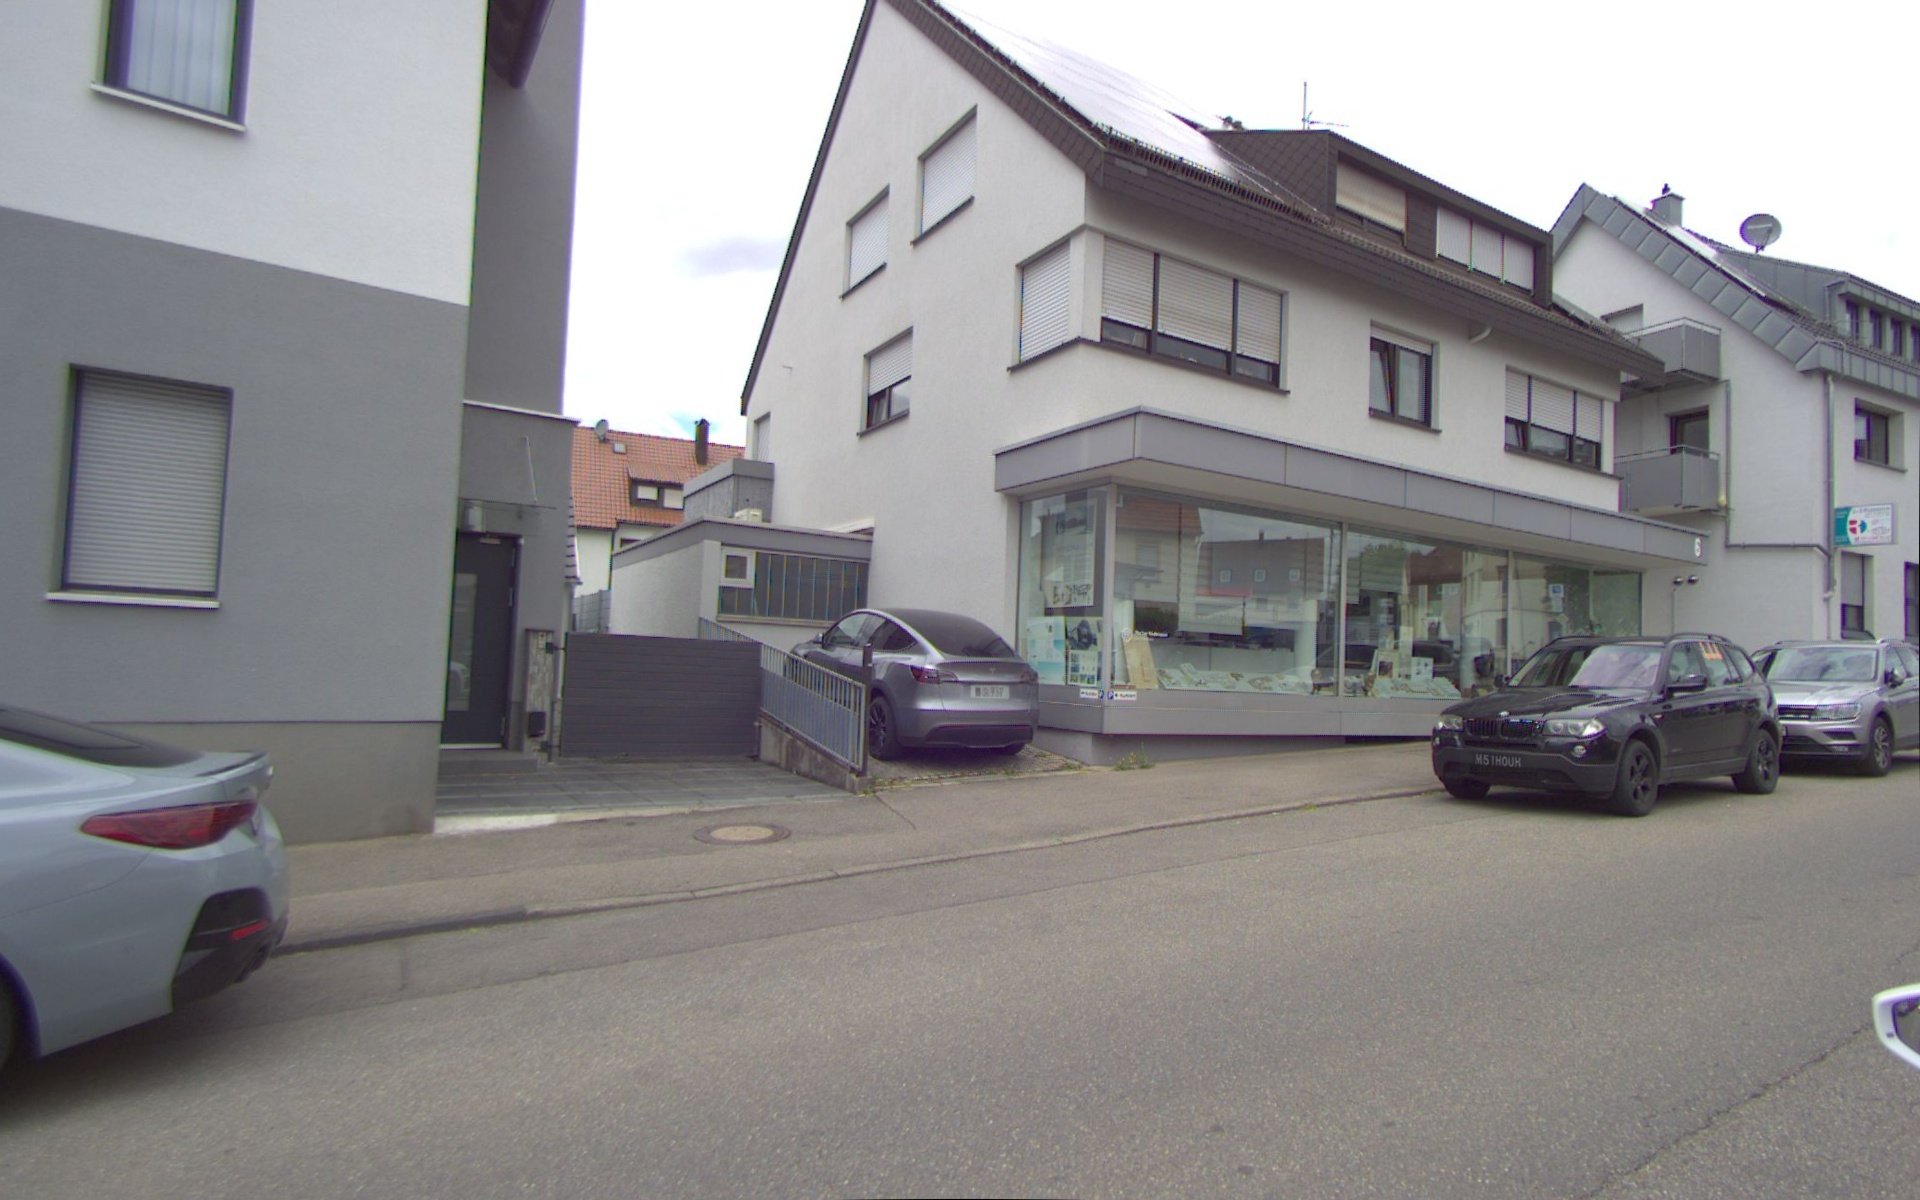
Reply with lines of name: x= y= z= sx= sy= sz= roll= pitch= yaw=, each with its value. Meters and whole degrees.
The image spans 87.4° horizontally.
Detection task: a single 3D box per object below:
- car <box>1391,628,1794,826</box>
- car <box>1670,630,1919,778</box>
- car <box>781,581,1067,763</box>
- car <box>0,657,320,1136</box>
car: x=6.613 y=1.168 z=10.387 sx=4.361 sy=1.654 sz=1.827 roll=2 pitch=-4 yaw=-33
car: x=11.412 y=1.266 z=13.241 sx=4.361 sy=1.654 sz=1.827 roll=2 pitch=-4 yaw=-33
car: x=-0.622 y=0.861 z=12.646 sx=1.977 sy=1.880 sz=3.968 roll=2 pitch=-3 yaw=-30
car: x=-4.626 y=0.935 z=3.114 sx=4.420 sy=1.464 sz=1.827 roll=2 pitch=-4 yaw=-33
